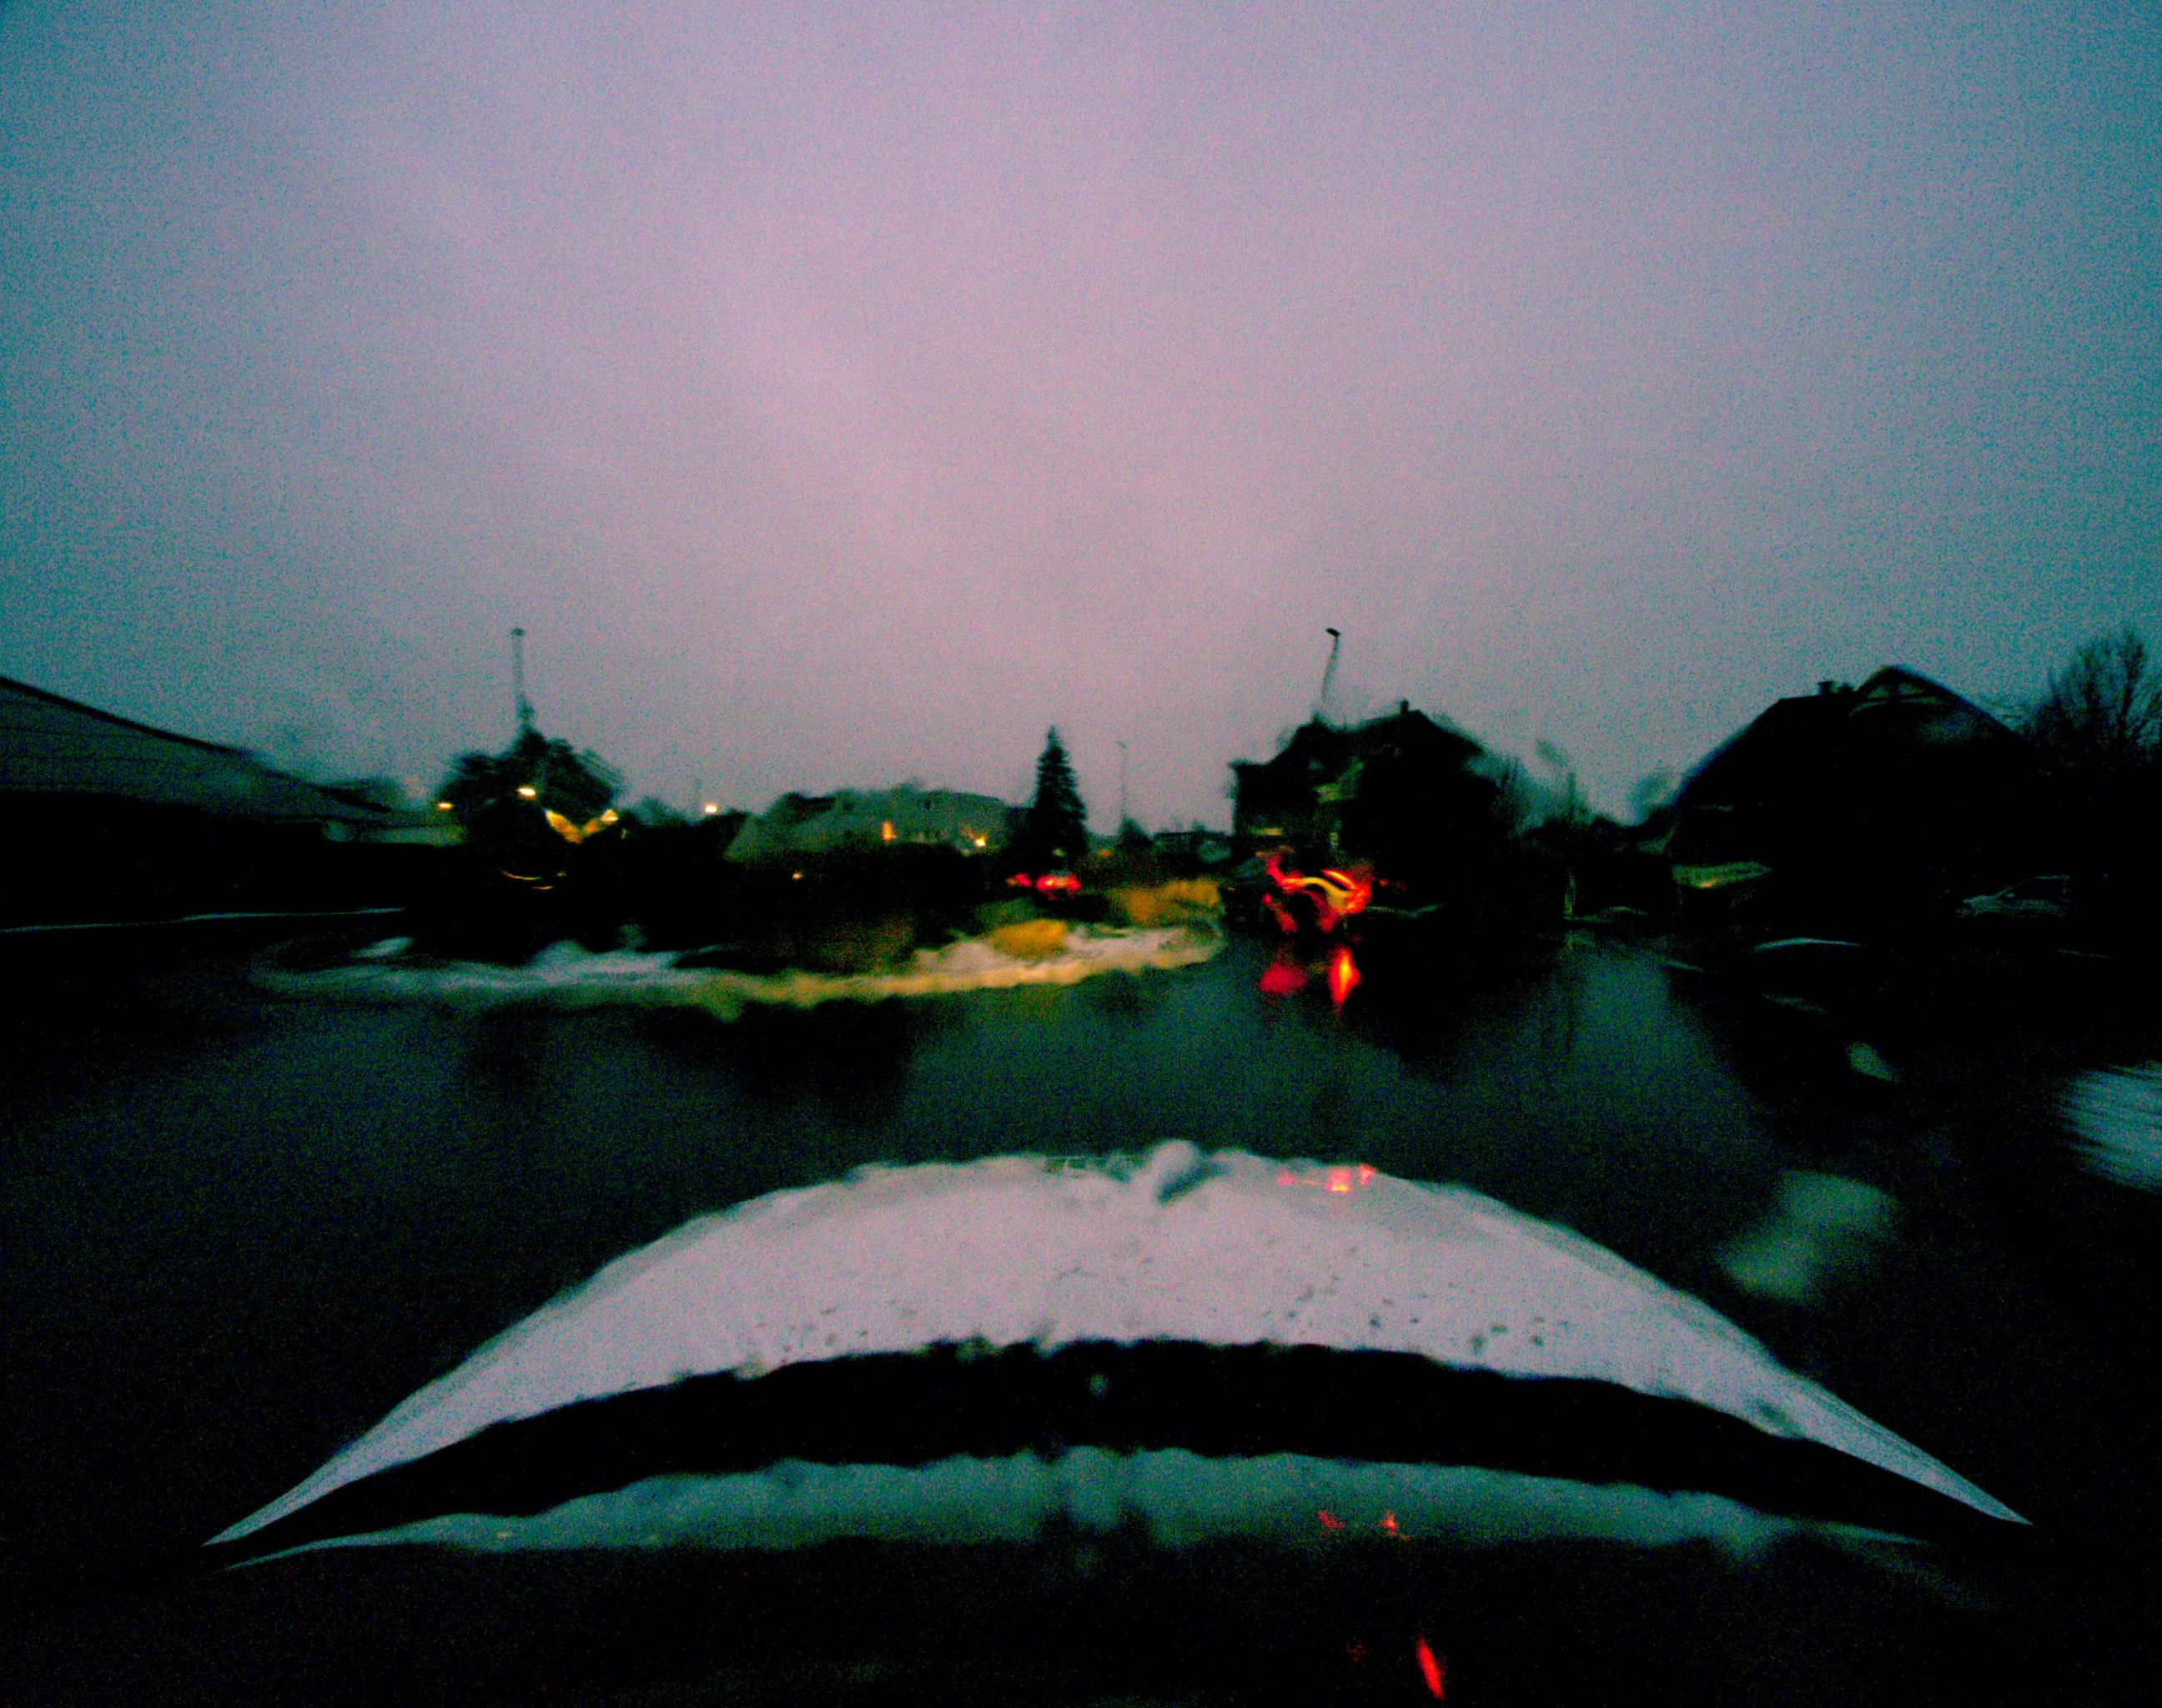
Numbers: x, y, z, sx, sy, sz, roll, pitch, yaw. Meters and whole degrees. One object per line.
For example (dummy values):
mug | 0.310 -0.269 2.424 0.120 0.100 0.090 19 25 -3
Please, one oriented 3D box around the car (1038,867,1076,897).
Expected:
car | -1.428 1.637 47.271 1.880 1.615 4.561 -1 -2 -6

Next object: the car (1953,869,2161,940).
car | 30.115 1.477 24.480 1.948 1.919 5.187 3 -2 -39

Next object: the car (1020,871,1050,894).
car | -3.285 2.009 57.133 1.880 1.548 4.561 -1 -2 -6

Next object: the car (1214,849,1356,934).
car | 4.508 0.784 18.661 1.942 1.718 3.992 0 -1 -6

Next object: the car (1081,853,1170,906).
car | 1.516 0.850 29.655 2.165 1.689 4.553 -1 1 -12

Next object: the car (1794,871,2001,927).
car | 30.530 1.618 30.601 2.380 1.865 5.269 0 -2 -40
